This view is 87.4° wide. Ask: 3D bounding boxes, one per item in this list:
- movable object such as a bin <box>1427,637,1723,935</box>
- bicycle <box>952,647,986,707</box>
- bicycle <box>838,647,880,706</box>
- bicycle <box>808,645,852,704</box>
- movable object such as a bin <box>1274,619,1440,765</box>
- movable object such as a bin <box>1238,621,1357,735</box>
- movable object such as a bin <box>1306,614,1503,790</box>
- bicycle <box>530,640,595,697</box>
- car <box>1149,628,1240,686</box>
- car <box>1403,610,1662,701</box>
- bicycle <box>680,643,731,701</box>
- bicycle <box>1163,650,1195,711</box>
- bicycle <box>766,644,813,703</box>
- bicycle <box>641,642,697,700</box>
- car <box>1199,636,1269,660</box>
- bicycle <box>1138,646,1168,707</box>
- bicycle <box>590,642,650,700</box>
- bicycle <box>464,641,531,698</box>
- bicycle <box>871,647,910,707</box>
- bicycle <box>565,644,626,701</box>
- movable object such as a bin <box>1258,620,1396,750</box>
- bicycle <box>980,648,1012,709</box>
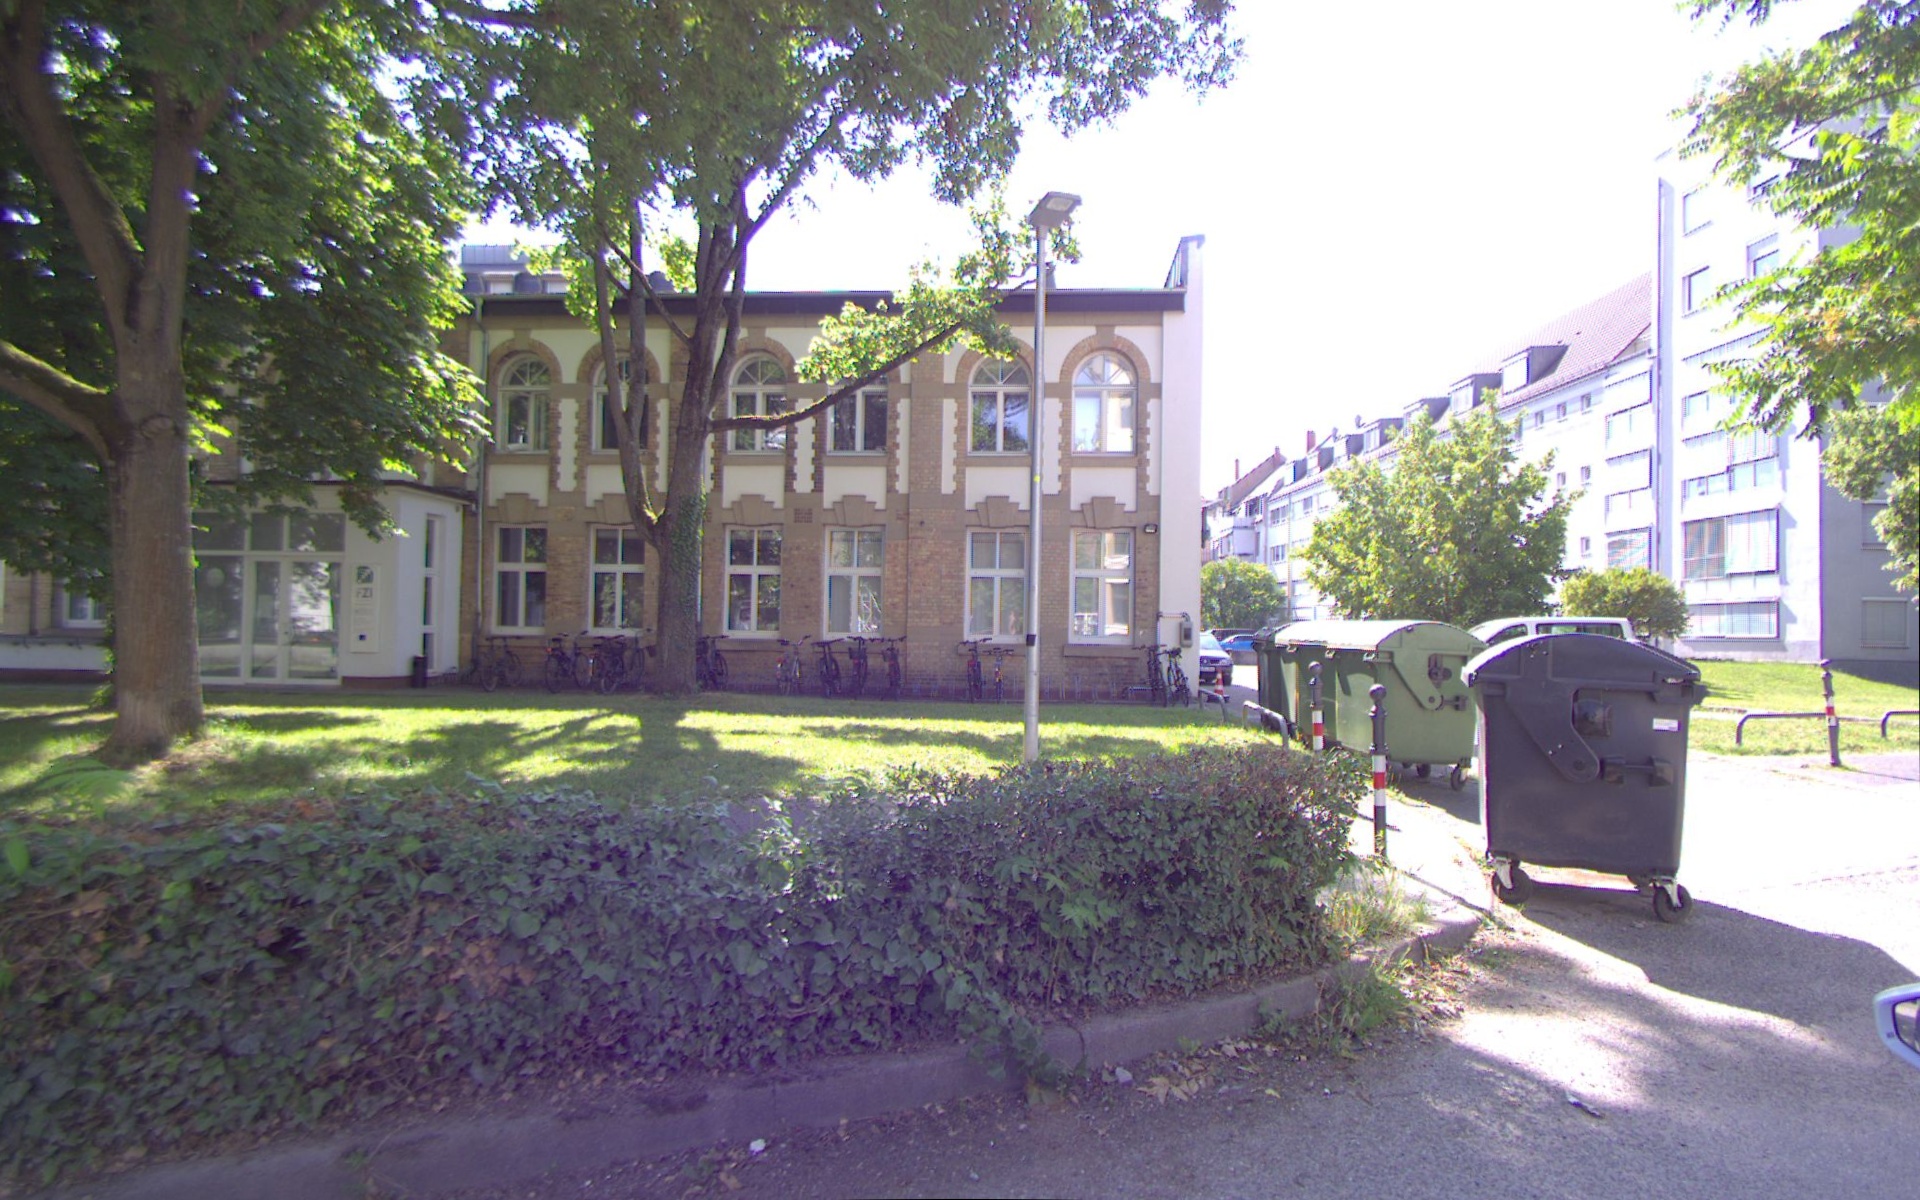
[{"bbox_3d":[3.377,0.927,5.728,1.224,1.415,1.404,0,-2,22],"label":"movable object such as a bin"},{"bbox_3d":[0.174,1.380,18.379,0.437,1.005,1.667,0,-1,7],"label":"bicycle"},{"bbox_3d":[-1.852,1.384,18.576,0.437,1.005,1.542,0,-1,7],"label":"bicycle"},{"bbox_3d":[-2.393,1.361,18.618,0.437,1.005,1.542,0,-1,7],"label":"bicycle"},{"bbox_3d":[4.186,0.948,10.694,1.225,1.450,1.222,1,-2,-6],"label":"movable object such as a bin"},{"bbox_3d":[4.526,1.023,13.577,1.223,1.450,1.351,1,-2,4],"label":"movable object such as a bin"},{"bbox_3d":[4.049,0.897,9.293,1.224,1.501,1.339,1,-2,-1],"label":"movable object such as a bin"},{"bbox_3d":[-7.445,1.264,18.863,0.437,1.005,1.542,0,-1,7],"label":"bicycle"},{"bbox_3d":[6.577,1.643,28.630,1.806,1.460,4.433,2,-3,4],"label":"car"},{"bbox_3d":[13.383,1.277,23.775,4.938,1.958,2.001,1,-1,6],"label":"car"},{"bbox_3d":[-4.728,1.316,18.751,0.437,1.005,1.542,0,-1,5],"label":"bicycle"},{"bbox_3d":[3.977,1.445,18.303,0.437,1.005,1.542,0,-1,7],"label":"bicycle"},{"bbox_3d":[-3.133,1.344,18.591,0.437,1.005,1.542,0,-1,7],"label":"bicycle"},{"bbox_3d":[-5.397,1.292,18.700,0.437,1.005,1.542,0,-1,7],"label":"bicycle"},{"bbox_3d":[18.102,3.149,66.503,4.158,1.552,2.001,0,-1,1],"label":"car"},{"bbox_3d":[3.496,1.368,18.287,0.437,1.005,1.631,0,-1,7],"label":"bicycle"},{"bbox_3d":[-6.354,1.310,18.847,0.437,1.005,1.542,0,-1,7],"label":"bicycle"},{"bbox_3d":[-8.730,1.295,19.015,0.437,1.005,1.542,2,-2,3],"label":"bicycle"},{"bbox_3d":[-1.264,1.399,18.531,0.437,1.005,1.542,0,-1,7],"label":"bicycle"},{"bbox_3d":[-6.827,1.344,18.880,0.367,1.002,1.601,0,-2,7],"label":"bicycle"},{"bbox_3d":[4.362,0.980,12.073,1.223,1.450,1.367,1,-2,4],"label":"movable object such as a bin"},{"bbox_3d":[0.667,1.410,18.361,0.437,1.005,1.686,0,-1,7],"label":"bicycle"}]
